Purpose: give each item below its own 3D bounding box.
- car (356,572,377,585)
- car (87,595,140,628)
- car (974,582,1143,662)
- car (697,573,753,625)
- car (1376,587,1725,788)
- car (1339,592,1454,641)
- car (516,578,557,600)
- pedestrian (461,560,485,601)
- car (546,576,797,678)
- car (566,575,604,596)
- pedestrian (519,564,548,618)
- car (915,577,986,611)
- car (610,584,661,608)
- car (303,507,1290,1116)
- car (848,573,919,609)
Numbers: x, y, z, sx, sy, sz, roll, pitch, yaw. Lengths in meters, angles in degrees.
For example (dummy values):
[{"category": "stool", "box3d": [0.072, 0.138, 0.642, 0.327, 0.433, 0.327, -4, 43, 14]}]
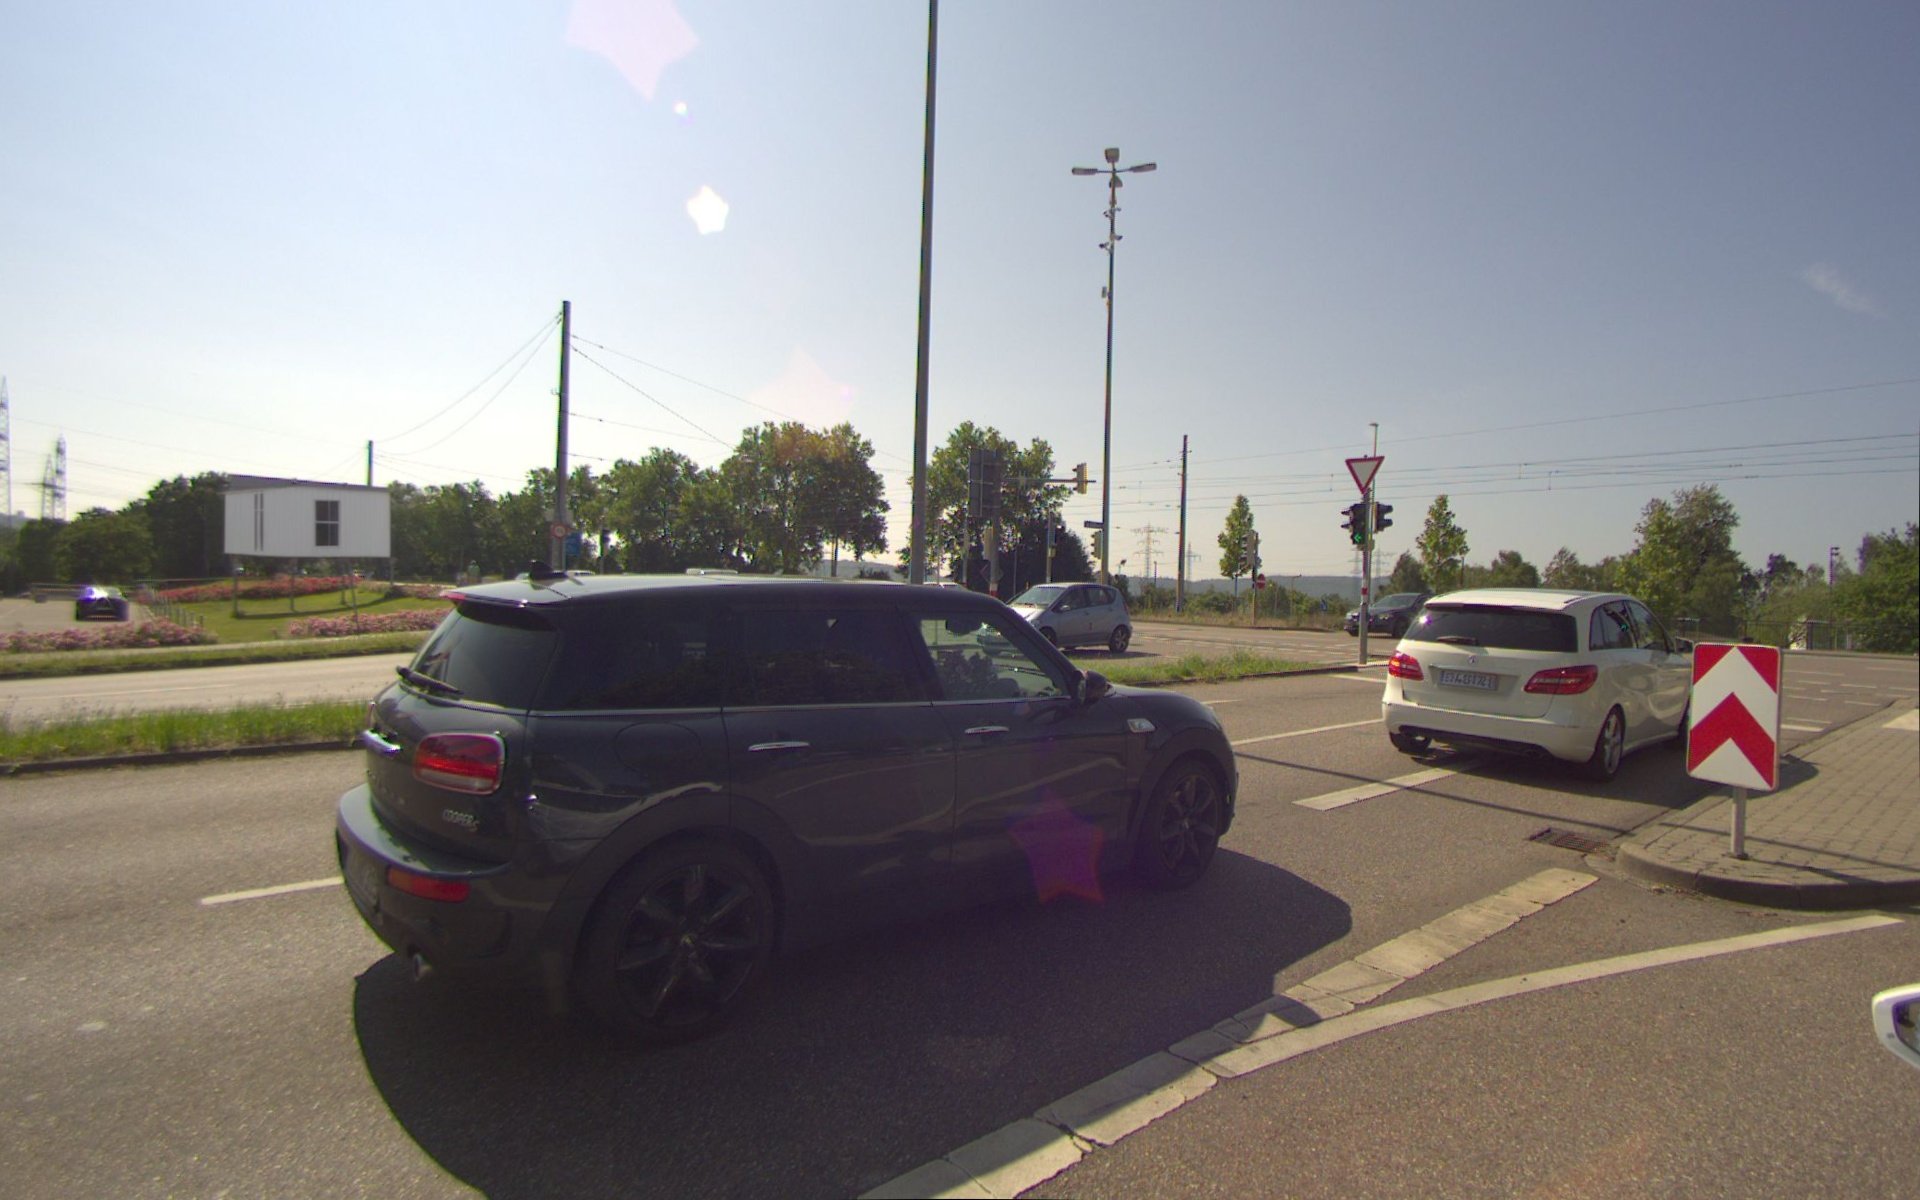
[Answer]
[{"category": "car", "box3d": [-79.147, -2.869, 133.938, 1.621, 1.646, 3.738, 1, 0, -43]}, {"category": "car", "box3d": [-38.882, 0.506, 46.106, 1.716, 1.347, 3.812, 3, -1, -42]}, {"category": "car", "box3d": [2.283, 0.434, 22.737, 3.886, 1.647, 1.613, 0, 1, -41]}, {"category": "car", "box3d": [-9.589, -0.068, 40.785, 1.788, 1.951, 3.982, 1, 2, -19]}, {"category": "car", "box3d": [5.812, 0.668, 9.628, 4.358, 1.467, 1.724, 1, 1, -44]}, {"category": "car", "box3d": [14.888, 0.517, 34.109, 2.037, 1.523, 4.785, 1, 1, 44]}, {"category": "car", "box3d": [-34.410, -0.902, 81.580, 1.894, 1.593, 3.790, 3, -1, -41]}, {"category": "pedestrian", "box3d": [-24.420, -0.968, 50.401, 0.909, 1.998, 0.711, 2, 0, -37]}, {"category": "car", "box3d": [-3.179, 0.276, 11.224, 2.471, 1.017, 1.108, 1, 0, -40]}, {"category": "car", "box3d": [-30.889, -1.176, 82.650, 1.621, 1.646, 3.738, 1, 0, -43]}, {"category": "pedestrian", "box3d": [-13.924, -0.289, 32.782, 0.831, 1.730, 0.900, 1, 0, -24]}, {"category": "car", "box3d": [-0.459, -0.291, 46.990, 1.401, 1.520, 3.309, 3, -1, -45]}, {"category": "car", "box3d": [-21.486, -0.250, 66.380, 1.749, 1.541, 3.950, 1, 0, -42]}, {"category": "car", "box3d": [-0.386, 0.548, 4.564, 4.168, 1.532, 1.722, 1, 0, -42]}, {"category": "car", "box3d": [-3.517, -0.412, 45.614, 1.400, 1.520, 3.354, 3, -1, -43]}]
